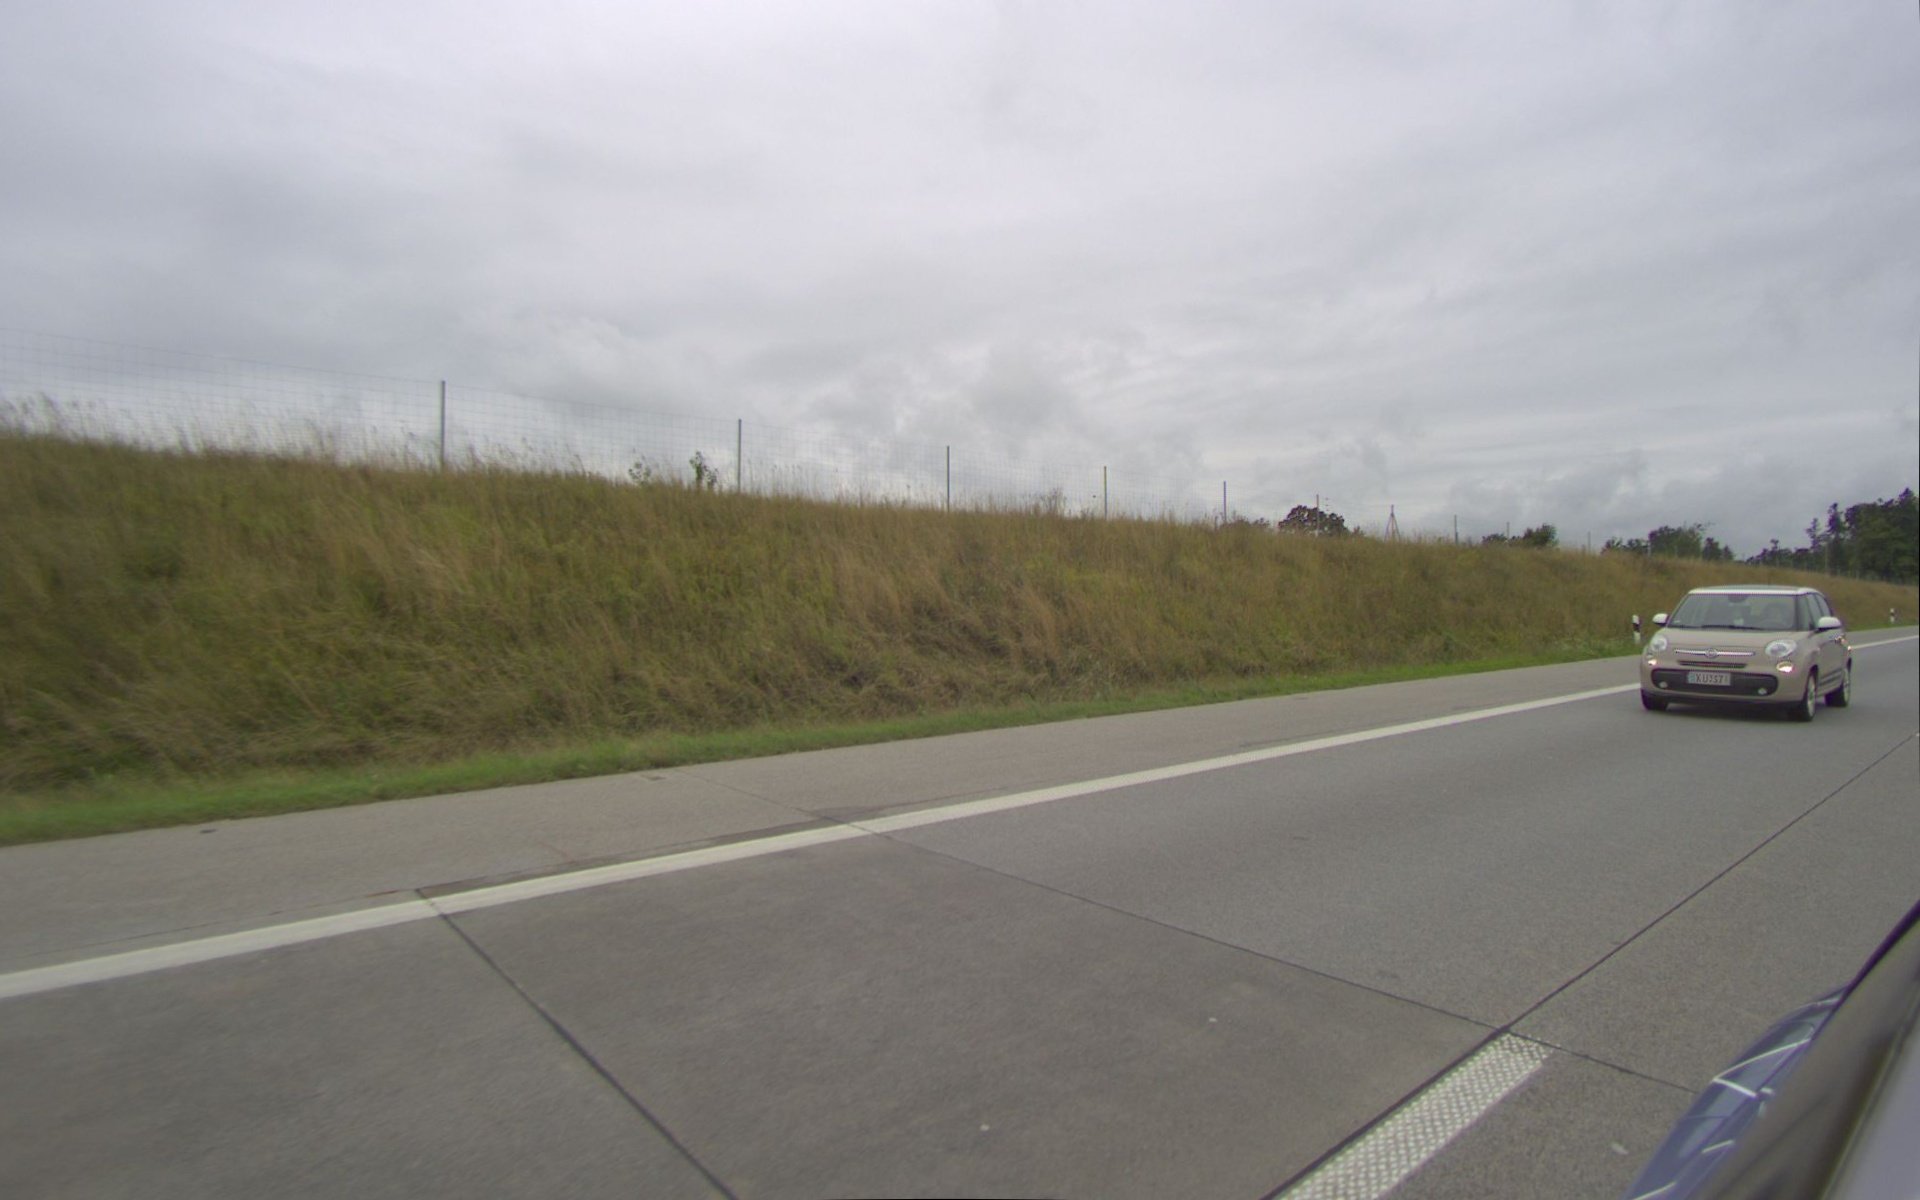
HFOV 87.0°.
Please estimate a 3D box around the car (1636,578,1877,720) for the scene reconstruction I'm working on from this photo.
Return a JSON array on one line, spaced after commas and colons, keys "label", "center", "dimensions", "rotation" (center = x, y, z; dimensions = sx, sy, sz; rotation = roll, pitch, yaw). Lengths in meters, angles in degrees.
[{"label": "car", "center": [10.951, 0.570, 13.793], "dimensions": [4.490, 1.625, 1.788], "rotation": [0, 0, -41]}]
